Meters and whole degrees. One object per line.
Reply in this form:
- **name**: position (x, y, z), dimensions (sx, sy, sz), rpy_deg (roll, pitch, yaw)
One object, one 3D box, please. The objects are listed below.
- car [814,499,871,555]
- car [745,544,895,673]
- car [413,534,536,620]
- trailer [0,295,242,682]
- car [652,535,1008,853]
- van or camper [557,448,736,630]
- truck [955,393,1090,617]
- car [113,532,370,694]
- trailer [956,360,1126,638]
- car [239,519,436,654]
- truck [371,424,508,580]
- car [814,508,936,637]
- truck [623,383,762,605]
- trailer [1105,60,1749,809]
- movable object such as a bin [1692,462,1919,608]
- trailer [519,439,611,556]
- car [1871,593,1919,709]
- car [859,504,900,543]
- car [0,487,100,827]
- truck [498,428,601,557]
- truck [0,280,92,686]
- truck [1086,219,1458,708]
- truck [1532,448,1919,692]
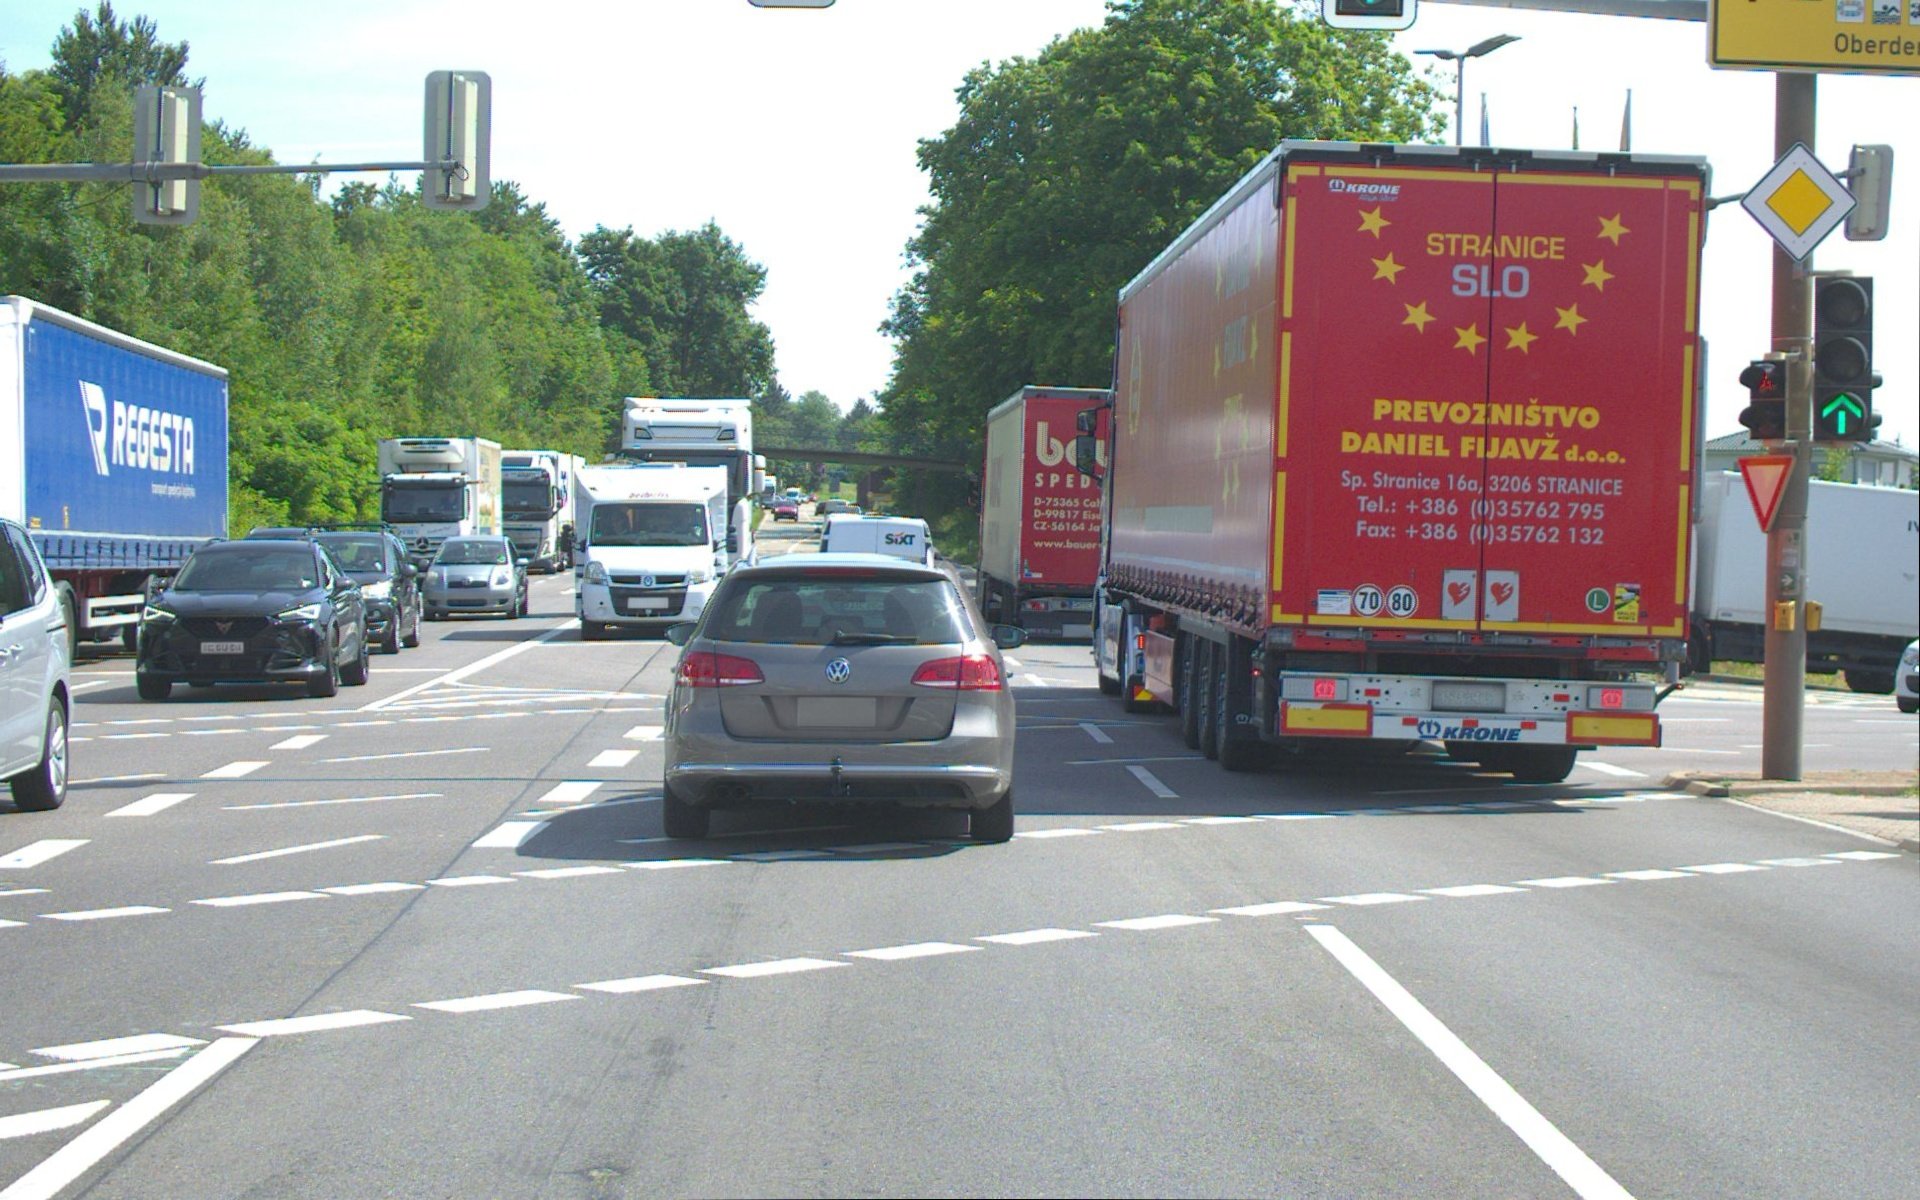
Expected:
- **car**: position (-4.293, -2.646, 125.242), dimensions (1.993, 2.007, 4.001), rpy_deg (0, 1, -3)
- **car**: position (-1.760, 0.067, 42.563), dimensions (1.770, 1.508, 4.001), rpy_deg (0, 1, -3)
- **car**: position (-8.712, -0.433, 61.963), dimensions (1.725, 1.497, 4.000), rpy_deg (0, 1, -1)
- **trailer**: position (-11.671, -1.313, 43.121), dimensions (3.093, 4.065, 14.129), rpy_deg (0, 1, -3)
- **car**: position (-0.726, 0.411, 18.342), dimensions (1.691, 1.508, 4.001), rpy_deg (0, 1, -3)
- **van or camper**: position (-4.721, -0.939, 52.770), dimensions (2.330, 2.591, 6.980), rpy_deg (0, 1, -2)
- **truck**: position (1.143, -1.803, 65.980), dimensions (2.406, 4.113, 5.521), rpy_deg (0, 1, -1)
- **car**: position (-6.971, 0.077, 33.766), dimensions (1.993, 1.480, 4.455), rpy_deg (0, 1, -5)
- **trailer**: position (1.233, -1.671, 59.124), dimensions (2.395, 4.228, 13.079), rpy_deg (0, 1, -1)
- **car**: position (-8.300, -0.212, 46.137), dimensions (1.993, 1.720, 4.000), rpy_deg (0, 1, -1)
- **truck**: position (-13.925, -2.603, 92.668), dimensions (2.728, 3.985, 9.621), rpy_deg (0, 1, -3)
- **car**: position (-1.356, -0.454, 53.469), dimensions (1.770, 1.930, 3.978), rpy_deg (0, 1, -3)
- **truck**: position (-5.120, -2.014, 66.351), dimensions (2.536, 4.074, 6.267), rpy_deg (0, 1, -4)
- **trailer**: position (3.059, -1.109, 27.070), dimensions (2.839, 4.350, 13.169), rpy_deg (2, 1, -1)
- **movable object such as a bin**: position (19.484, -1.495, 78.817), dimensions (2.897, 3.197, 6.692), rpy_deg (1, 1, 35)
- **trailer**: position (-14.170, -3.654, 123.854), dimensions (2.840, 4.055, 8.758), rpy_deg (0, 1, -3)
- **car**: position (13.953, 0.764, 46.591), dimensions (1.709, 1.499, 3.747), rpy_deg (3, 0, 38)
- **car**: position (-4.179, -3.947, 177.414), dimensions (1.993, 2.007, 4.001), rpy_deg (0, 1, -3)
- **car**: position (-5.812, 0.268, 17.602), dimensions (1.843, 1.726, 4.589), rpy_deg (2, 2, -3)
- **truck**: position (-13.621, -3.531, 114.718), dimensions (2.829, 4.102, 9.684), rpy_deg (0, 1, -3)
- **truck**: position (-11.305, -1.206, 35.945), dimensions (3.187, 4.065, 6.347), rpy_deg (0, 1, -3)
- **truck**: position (2.903, -1.275, 33.723), dimensions (2.870, 4.266, 5.839), rpy_deg (2, 1, -1)
- **truck**: position (15.206, -0.360, 60.653), dimensions (9.667, 3.616, 2.768), rpy_deg (5, -1, -19)
